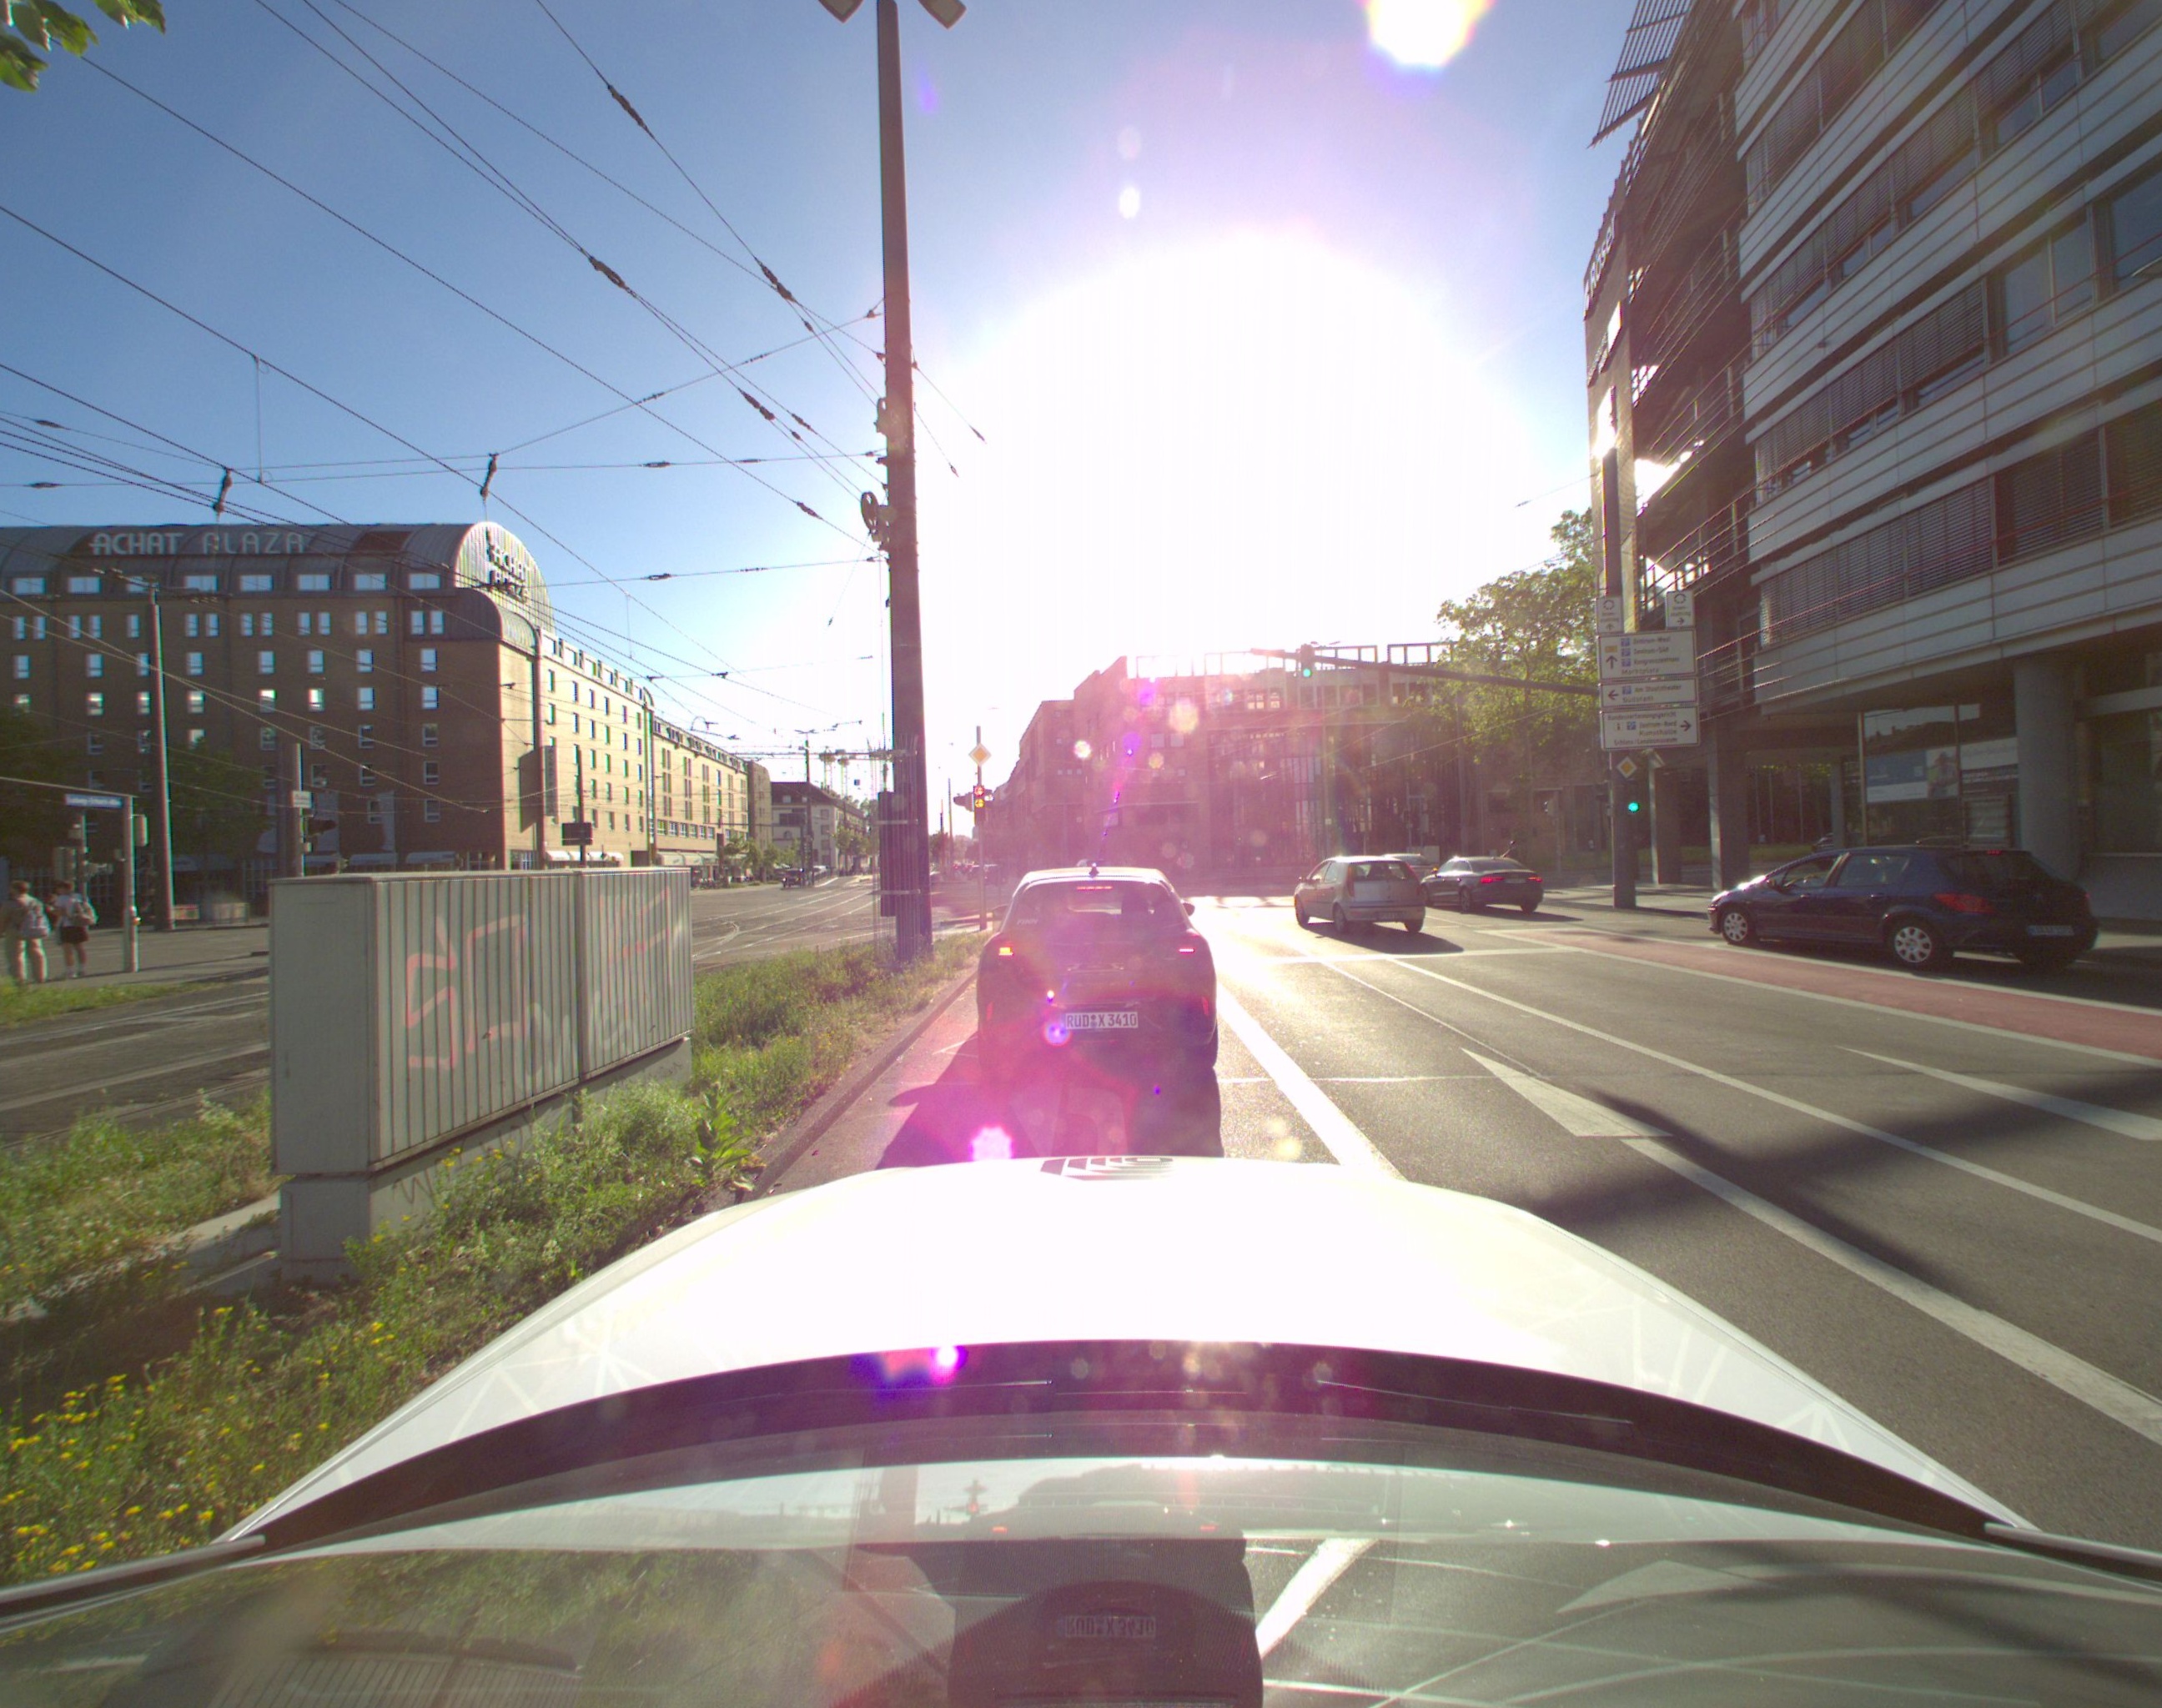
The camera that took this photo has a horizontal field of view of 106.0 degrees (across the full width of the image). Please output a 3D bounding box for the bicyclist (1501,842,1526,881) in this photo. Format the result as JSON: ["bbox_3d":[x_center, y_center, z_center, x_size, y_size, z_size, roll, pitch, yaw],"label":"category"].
[{"bbox_3d":[16.074,0.272,30.245,0.658,1.407,0.821,-1,1,39],"label":"bicyclist"}]

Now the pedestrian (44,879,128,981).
[{"bbox_3d":[-19.200,1.449,15.729,0.729,1.869,0.673,-2,0,-2],"label":"pedestrian"}]

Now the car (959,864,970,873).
[{"bbox_3d":[-19.750,2.414,137.951,1.516,1.453,3.570,-3,0,-11],"label":"car"}]

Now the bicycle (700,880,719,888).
[{"bbox_3d":[-43.090,3.474,94.460,2.026,0.921,0.483,-3,0,1],"label":"bicycle"}]

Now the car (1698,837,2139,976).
[{"bbox_3d":[10.809,0.592,11.033,1.855,1.475,3.976,-2,0,0],"label":"car"}]

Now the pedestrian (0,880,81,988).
[{"bbox_3d":[-19.015,1.439,14.815,0.729,1.869,0.699,-2,0,1],"label":"pedestrian"}]

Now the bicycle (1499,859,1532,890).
[{"bbox_3d":[16.233,0.746,30.416,0.658,1.018,2.199,-1,2,39],"label":"bicycle"}]

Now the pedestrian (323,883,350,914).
[{"bbox_3d":[-42.420,2.527,46.391,0.713,1.680,0.829,-2,1,-7],"label":"pedestrian"}]

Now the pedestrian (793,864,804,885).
[{"bbox_3d":[-24.153,1.734,69.729,0.720,1.727,0.593,-2,0,-8],"label":"pedestrian"}]

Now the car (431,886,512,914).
[{"bbox_3d":[-39.357,2.944,52.667,1.594,1.601,3.886,-2,0,39],"label":"car"}]

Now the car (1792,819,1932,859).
[{"bbox_3d":[32.553,-0.592,34.031,3.948,1.475,1.869,-2,0,3],"label":"car"}]

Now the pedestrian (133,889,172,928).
[{"bbox_3d":[-41.983,2.452,36.818,0.711,1.680,0.832,-2,1,2],"label":"pedestrian"}]

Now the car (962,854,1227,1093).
[{"bbox_3d":[0.145,0.763,7.018,1.665,1.502,3.692,-1,0,2],"label":"car"}]

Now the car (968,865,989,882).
[{"bbox_3d":[-9.703,1.848,76.939,1.721,1.453,3.684,-3,0,-11],"label":"car"}]

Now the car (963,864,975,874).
[{"bbox_3d":[-17.703,2.364,128.670,1.516,1.453,3.570,-3,0,-11],"label":"car"}]

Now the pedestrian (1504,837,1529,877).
[{"bbox_3d":[18.697,0.130,34.950,0.786,1.734,0.588,-1,-1,9],"label":"pedestrian"}]

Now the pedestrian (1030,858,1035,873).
[{"bbox_3d":[-6.196,1.474,103.801,0.547,1.786,0.572,-2,2,-7],"label":"pedestrian"}]

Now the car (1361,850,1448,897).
[{"bbox_3d":[11.220,0.637,28.522,1.687,1.475,3.987,-2,0,5],"label":"car"}]

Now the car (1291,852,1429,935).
[{"bbox_3d":[5.570,0.731,16.701,1.555,1.456,3.429,-2,0,-1],"label":"car"}]

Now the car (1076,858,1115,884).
[{"bbox_3d":[0.845,0.995,48.956,1.671,1.453,3.686,-3,0,-9],"label":"car"}]

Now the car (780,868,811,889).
[{"bbox_3d":[-27.751,2.314,79.363,1.837,1.836,4.098,-4,0,-6],"label":"car"}]

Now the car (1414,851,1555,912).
[{"bbox_3d":[10.527,0.685,21.604,1.690,1.440,4.017,-1,-1,-1],"label":"car"}]

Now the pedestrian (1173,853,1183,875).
[{"bbox_3d":[8.044,0.801,67.622,0.573,1.786,0.546,-3,-1,-17],"label":"pedestrian"}]

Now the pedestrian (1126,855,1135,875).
[{"bbox_3d":[4.385,0.991,72.553,0.639,1.786,0.687,-3,-1,-4],"label":"pedestrian"}]

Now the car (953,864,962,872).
[{"bbox_3d":[-22.956,2.573,151.690,1.516,1.453,3.570,-3,0,-11],"label":"car"}]

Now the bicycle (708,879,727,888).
[{"bbox_3d":[-42.688,3.450,95.624,2.026,0.921,0.483,-3,0,1],"label":"bicycle"}]

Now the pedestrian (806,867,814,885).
[{"bbox_3d":[-23.960,1.929,72.066,0.583,1.577,0.642,-2,-1,-23],"label":"pedestrian"}]

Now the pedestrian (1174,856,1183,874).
[{"bbox_3d":[8.335,0.930,69.540,0.550,1.477,0.568,-2,0,-27],"label":"pedestrian"}]

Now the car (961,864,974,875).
[{"bbox_3d":[-15.938,2.177,114.483,1.516,1.453,3.570,-3,0,-11],"label":"car"}]

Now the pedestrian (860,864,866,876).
[{"bbox_3d":[-30.977,2.236,115.715,0.863,1.670,0.779,-1,0,-20],"label":"pedestrian"}]

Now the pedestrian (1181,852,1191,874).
[{"bbox_3d":[8.831,0.773,68.474,0.573,1.786,0.546,-3,-1,-17],"label":"pedestrian"}]

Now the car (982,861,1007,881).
[{"bbox_3d":[-6.806,1.329,63.595,1.720,1.453,3.686,-3,0,-9],"label":"car"}]

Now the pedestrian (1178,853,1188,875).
[{"bbox_3d":[8.384,0.795,67.025,0.573,1.786,0.546,-3,-1,-17],"label":"pedestrian"}]

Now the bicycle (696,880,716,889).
[{"bbox_3d":[-42.827,3.483,93.064,2.026,0.845,0.483,-3,0,1],"label":"bicycle"}]
